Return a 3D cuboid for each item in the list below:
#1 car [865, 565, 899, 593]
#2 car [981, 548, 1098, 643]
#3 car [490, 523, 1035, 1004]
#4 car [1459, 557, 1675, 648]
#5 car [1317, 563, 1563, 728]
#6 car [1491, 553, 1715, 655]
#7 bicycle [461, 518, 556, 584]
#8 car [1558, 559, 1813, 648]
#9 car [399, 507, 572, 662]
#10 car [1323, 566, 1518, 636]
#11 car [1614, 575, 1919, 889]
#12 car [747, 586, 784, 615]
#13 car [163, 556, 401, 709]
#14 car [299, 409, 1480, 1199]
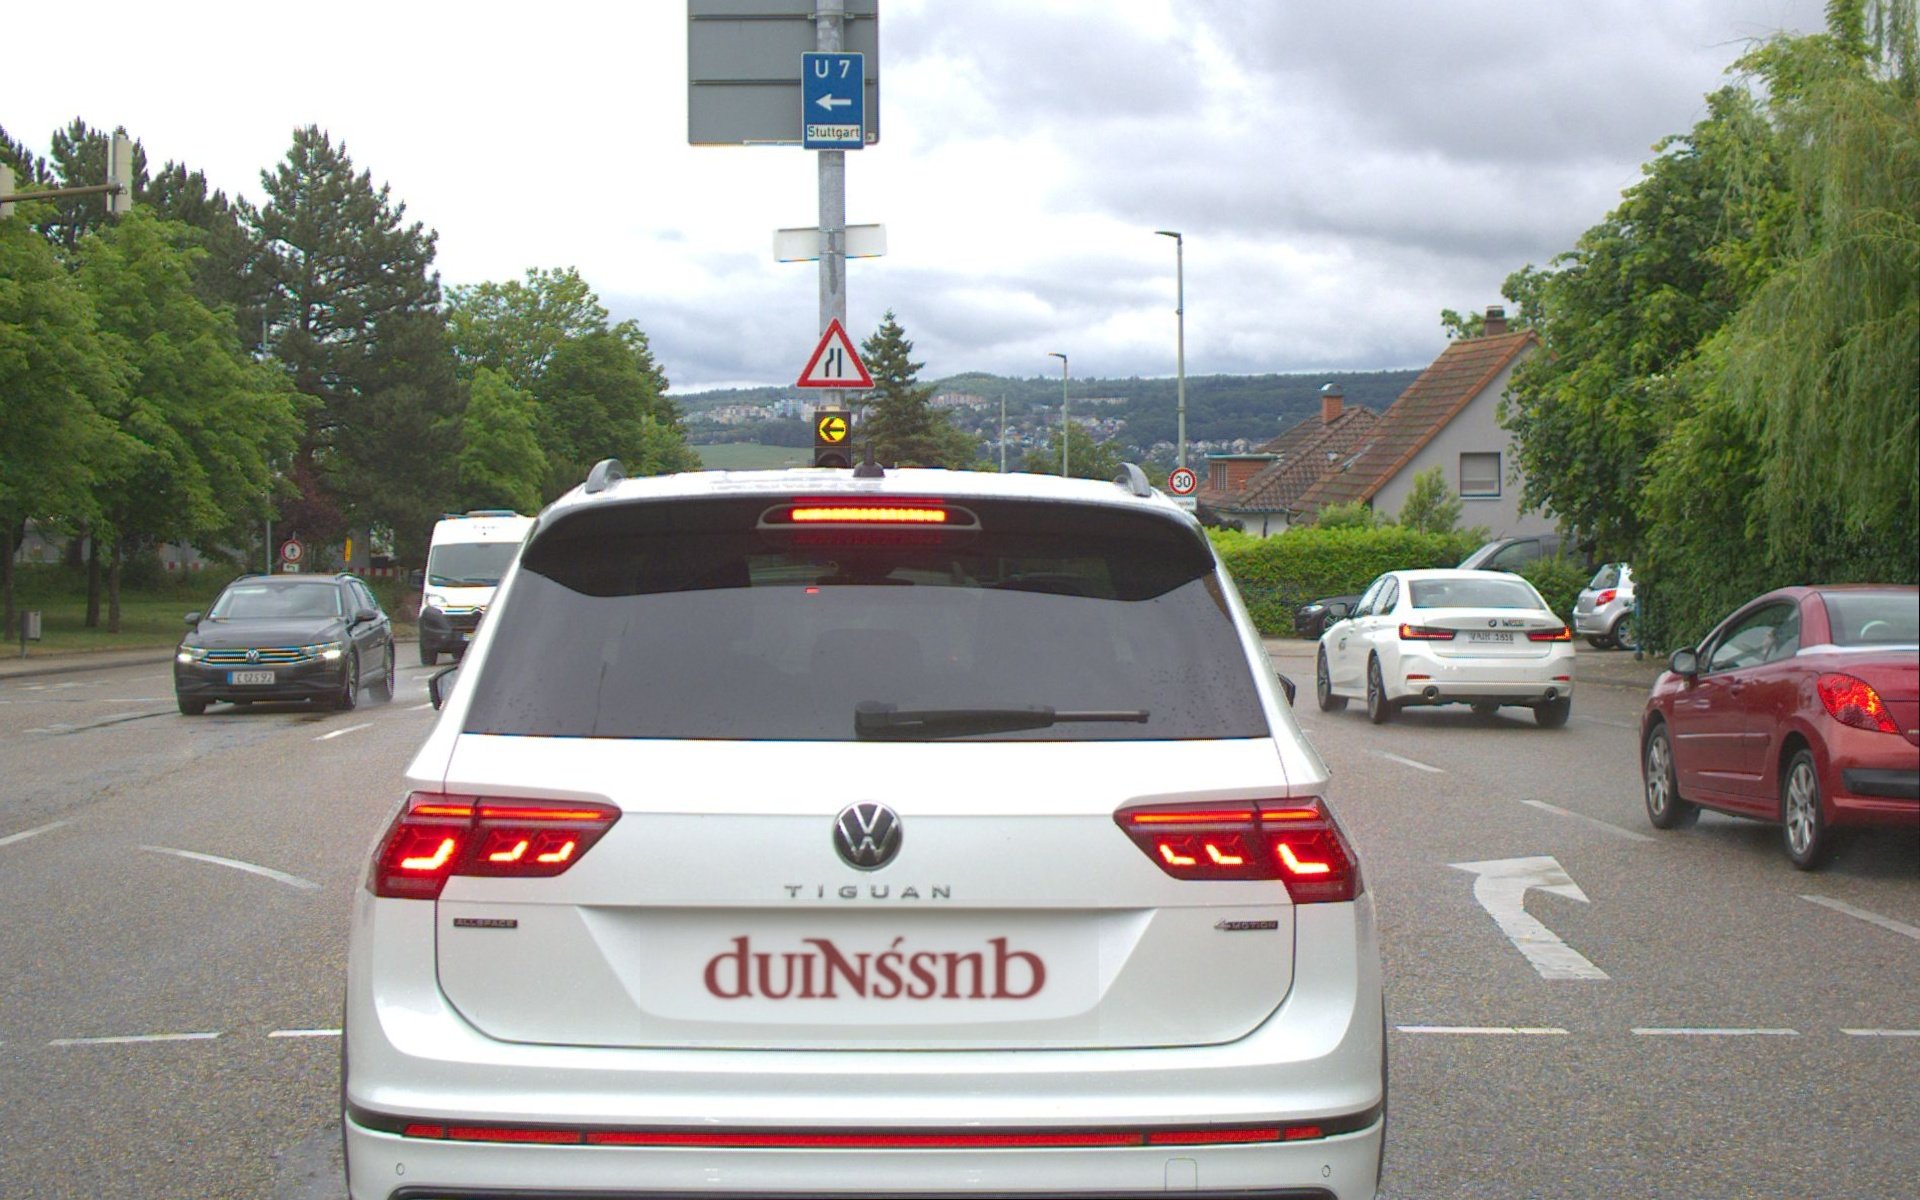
[{"bbox_3d":[-4.542,-1.245,200.526,1.850,1.569,4.000,-1,1,0],"label":"car"},{"bbox_3d":[1.354,-0.110,60.230,1.735,1.569,4.069,1,1,-3],"label":"car"},{"bbox_3d":[-0.666,0.515,13.401,1.798,1.584,3.926,1,1,0],"label":"car"},{"bbox_3d":[11.334,0.032,64.369,3.627,1.620,1.792,0,2,-4],"label":"car"},{"bbox_3d":[4.554,0.385,33.172,1.664,1.422,4.305,1,1,-1],"label":"car"},{"bbox_3d":[11.545,0.053,61.878,3.627,1.740,1.708,0,3,-4],"label":"car"},{"bbox_3d":[-8.146,-0.884,62.054,1.636,1.122,0.468,-2,2,-2],"label":"bicycle"},{"bbox_3d":[11.904,0.066,56.486,3.713,1.390,1.729,-1,0,-7],"label":"car"},{"bbox_3d":[-8.057,-0.303,58.940,2.297,2.519,5.774,0,1,-1],"label":"car"},{"bbox_3d":[9.257,0.028,69.252,3.687,1.365,1.519,1,-1,-2],"label":"car"},{"bbox_3d":[4.702,0.609,17.798,1.625,1.398,3.690,1,1,-5],"label":"car"},{"bbox_3d":[-11.984,0.016,211.977,1.993,1.722,4.000,2,0,-1],"label":"car"},{"bbox_3d":[-7.264,0.302,37.233,1.775,1.497,4.472,-2,1,-2],"label":"car"},{"bbox_3d":[-0.167,0.548,7.379,1.763,1.690,4.273,2,1,-1],"label":"car"}]
